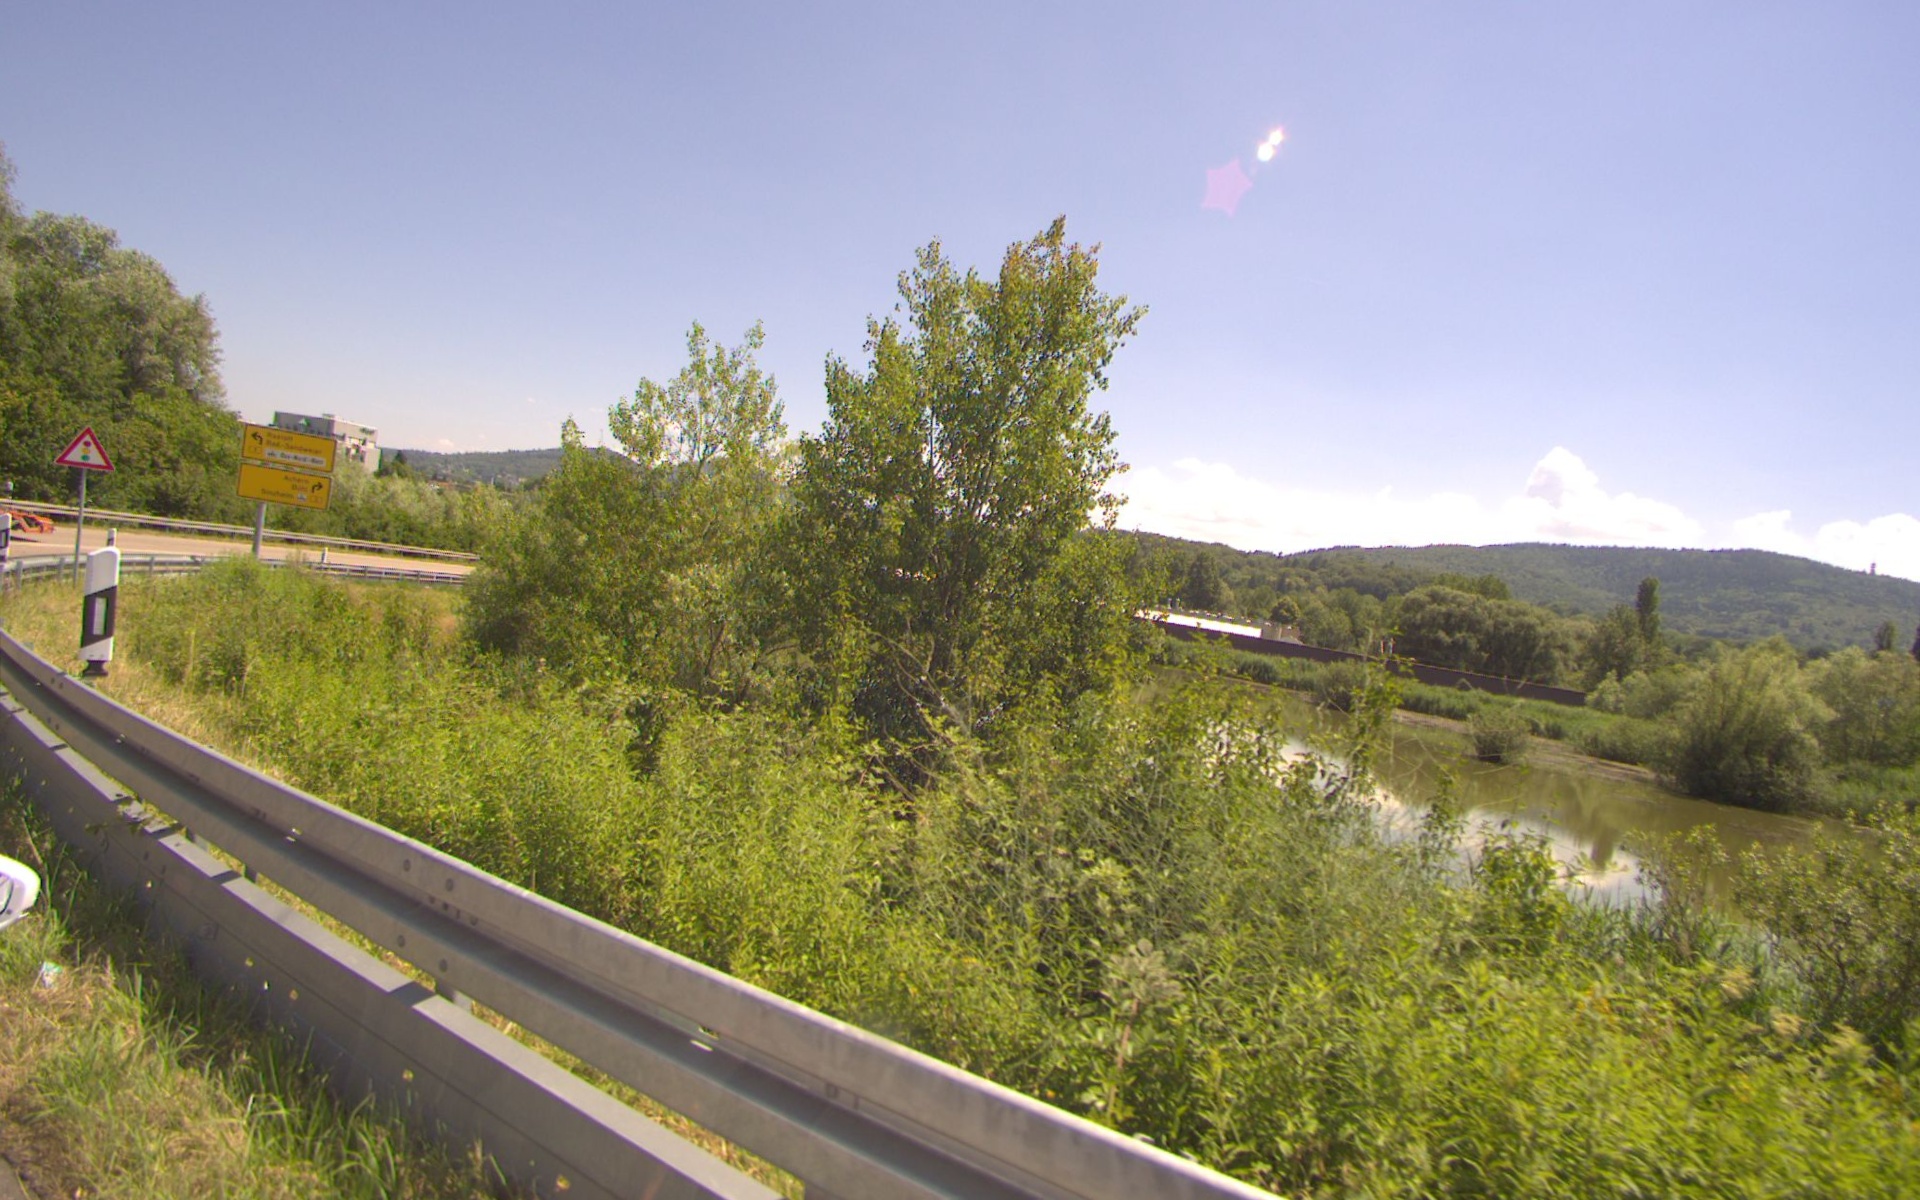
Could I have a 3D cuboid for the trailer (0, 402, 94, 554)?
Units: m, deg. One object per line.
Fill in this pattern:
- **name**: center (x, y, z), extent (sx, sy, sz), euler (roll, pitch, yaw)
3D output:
- **trailer**: center (-26.602, -3.547, 24.772), extent (2.765, 3.941, 13.928), euler (9, -2, -20)
